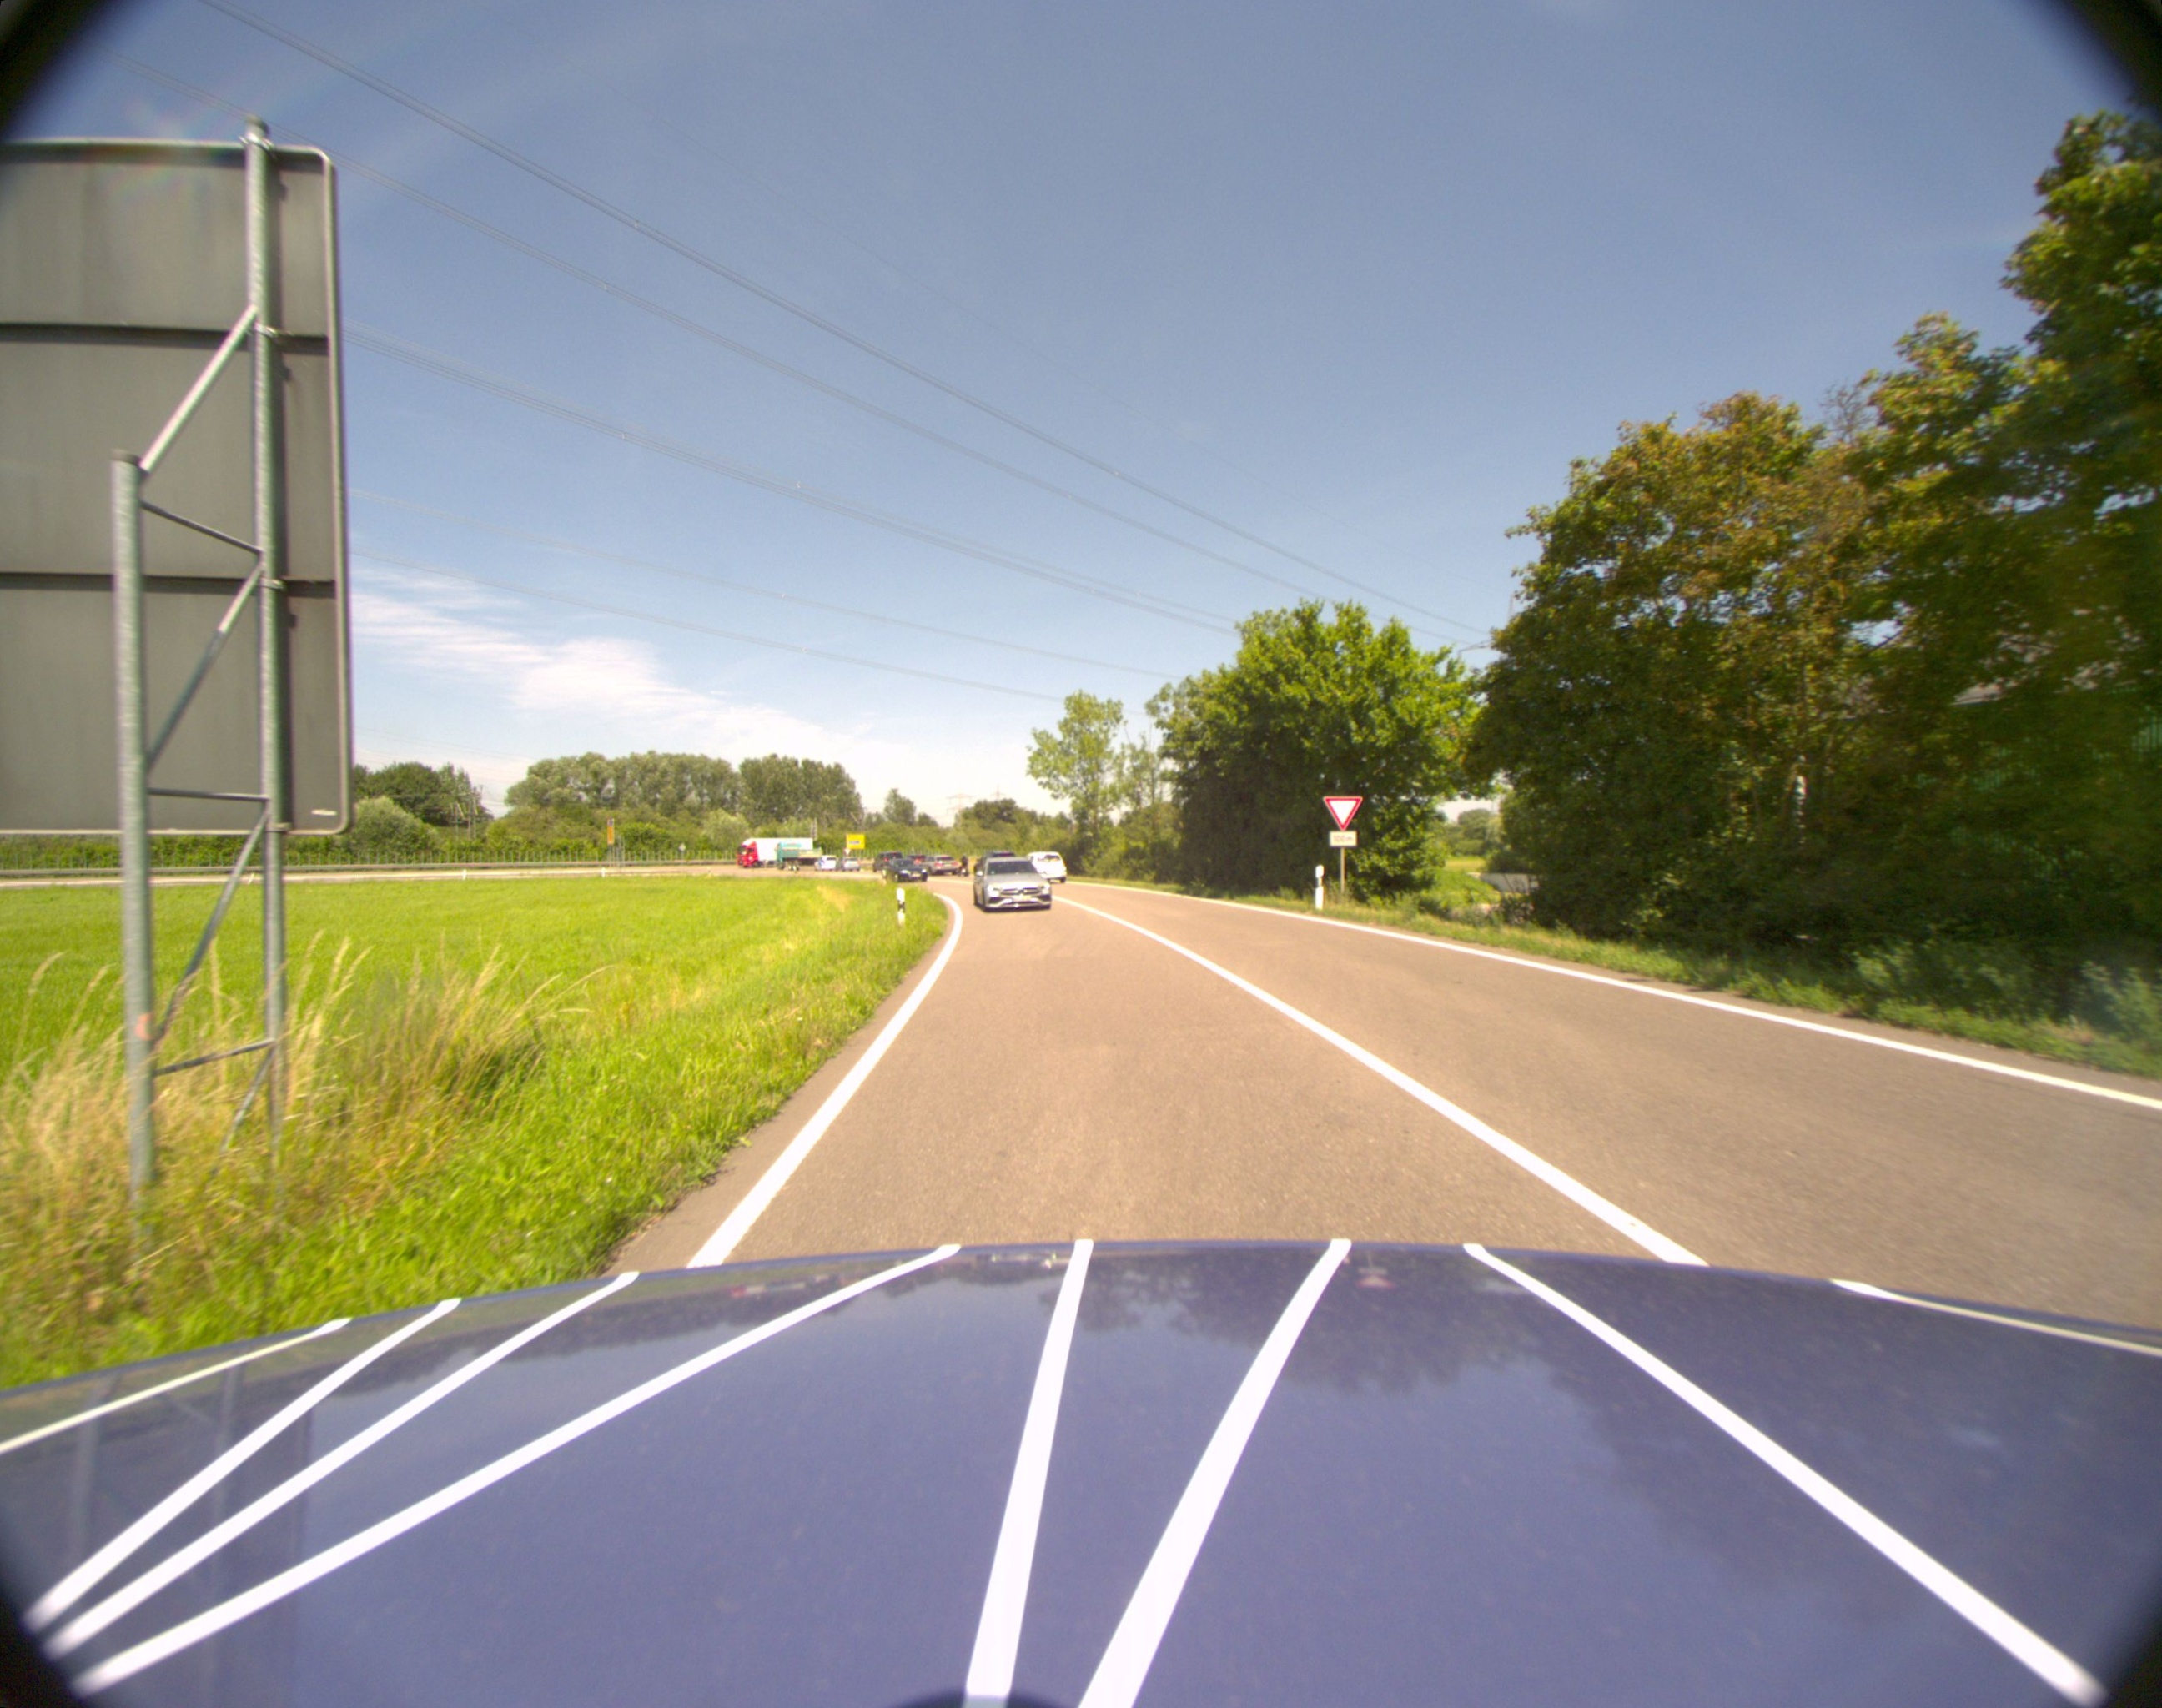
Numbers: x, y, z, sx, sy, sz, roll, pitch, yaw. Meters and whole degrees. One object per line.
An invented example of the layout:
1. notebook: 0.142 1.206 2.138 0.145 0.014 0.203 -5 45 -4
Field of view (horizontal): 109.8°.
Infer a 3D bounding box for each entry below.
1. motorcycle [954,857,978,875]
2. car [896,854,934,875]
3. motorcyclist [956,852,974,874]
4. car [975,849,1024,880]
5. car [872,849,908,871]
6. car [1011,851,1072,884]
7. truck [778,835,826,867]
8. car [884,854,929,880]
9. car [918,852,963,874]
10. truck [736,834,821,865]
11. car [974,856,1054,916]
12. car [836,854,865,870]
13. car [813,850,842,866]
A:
1. motorcycle: -7.737 0.783 50.861 0.785 1.117 2.424 -3 2 -28
2. car: -13.260 0.815 60.634 1.807 1.507 4.381 -1 1 -28
3. motorcyclist: -7.771 0.591 50.919 0.784 1.487 1.128 -2 2 -28
4. car: -4.780 0.568 44.067 1.709 1.629 4.241 -3 1 -22
5. car: -16.787 0.513 66.744 1.935 1.822 4.427 -1 1 -30
6. car: -1.961 0.609 36.695 1.543 1.435 3.599 -4 2 -26
7. truck: -31.697 -0.300 86.040 2.615 3.451 7.588 -1 1 -40
8. car: -10.523 0.747 45.617 1.828 1.431 4.140 -1 1 -24
9. car: -10.241 0.629 55.091 1.850 1.452 4.797 -2 2 -28
10. truck: -38.242 -0.660 96.277 2.717 3.560 9.572 1 3 44
11. car: -2.017 0.842 21.858 1.826 1.478 4.144 -2 0 -11
12. car: -22.879 0.791 75.420 1.640 1.451 3.998 -1 1 -33
13. car: -26.789 0.399 80.257 1.781 1.611 4.319 -3 2 -33
